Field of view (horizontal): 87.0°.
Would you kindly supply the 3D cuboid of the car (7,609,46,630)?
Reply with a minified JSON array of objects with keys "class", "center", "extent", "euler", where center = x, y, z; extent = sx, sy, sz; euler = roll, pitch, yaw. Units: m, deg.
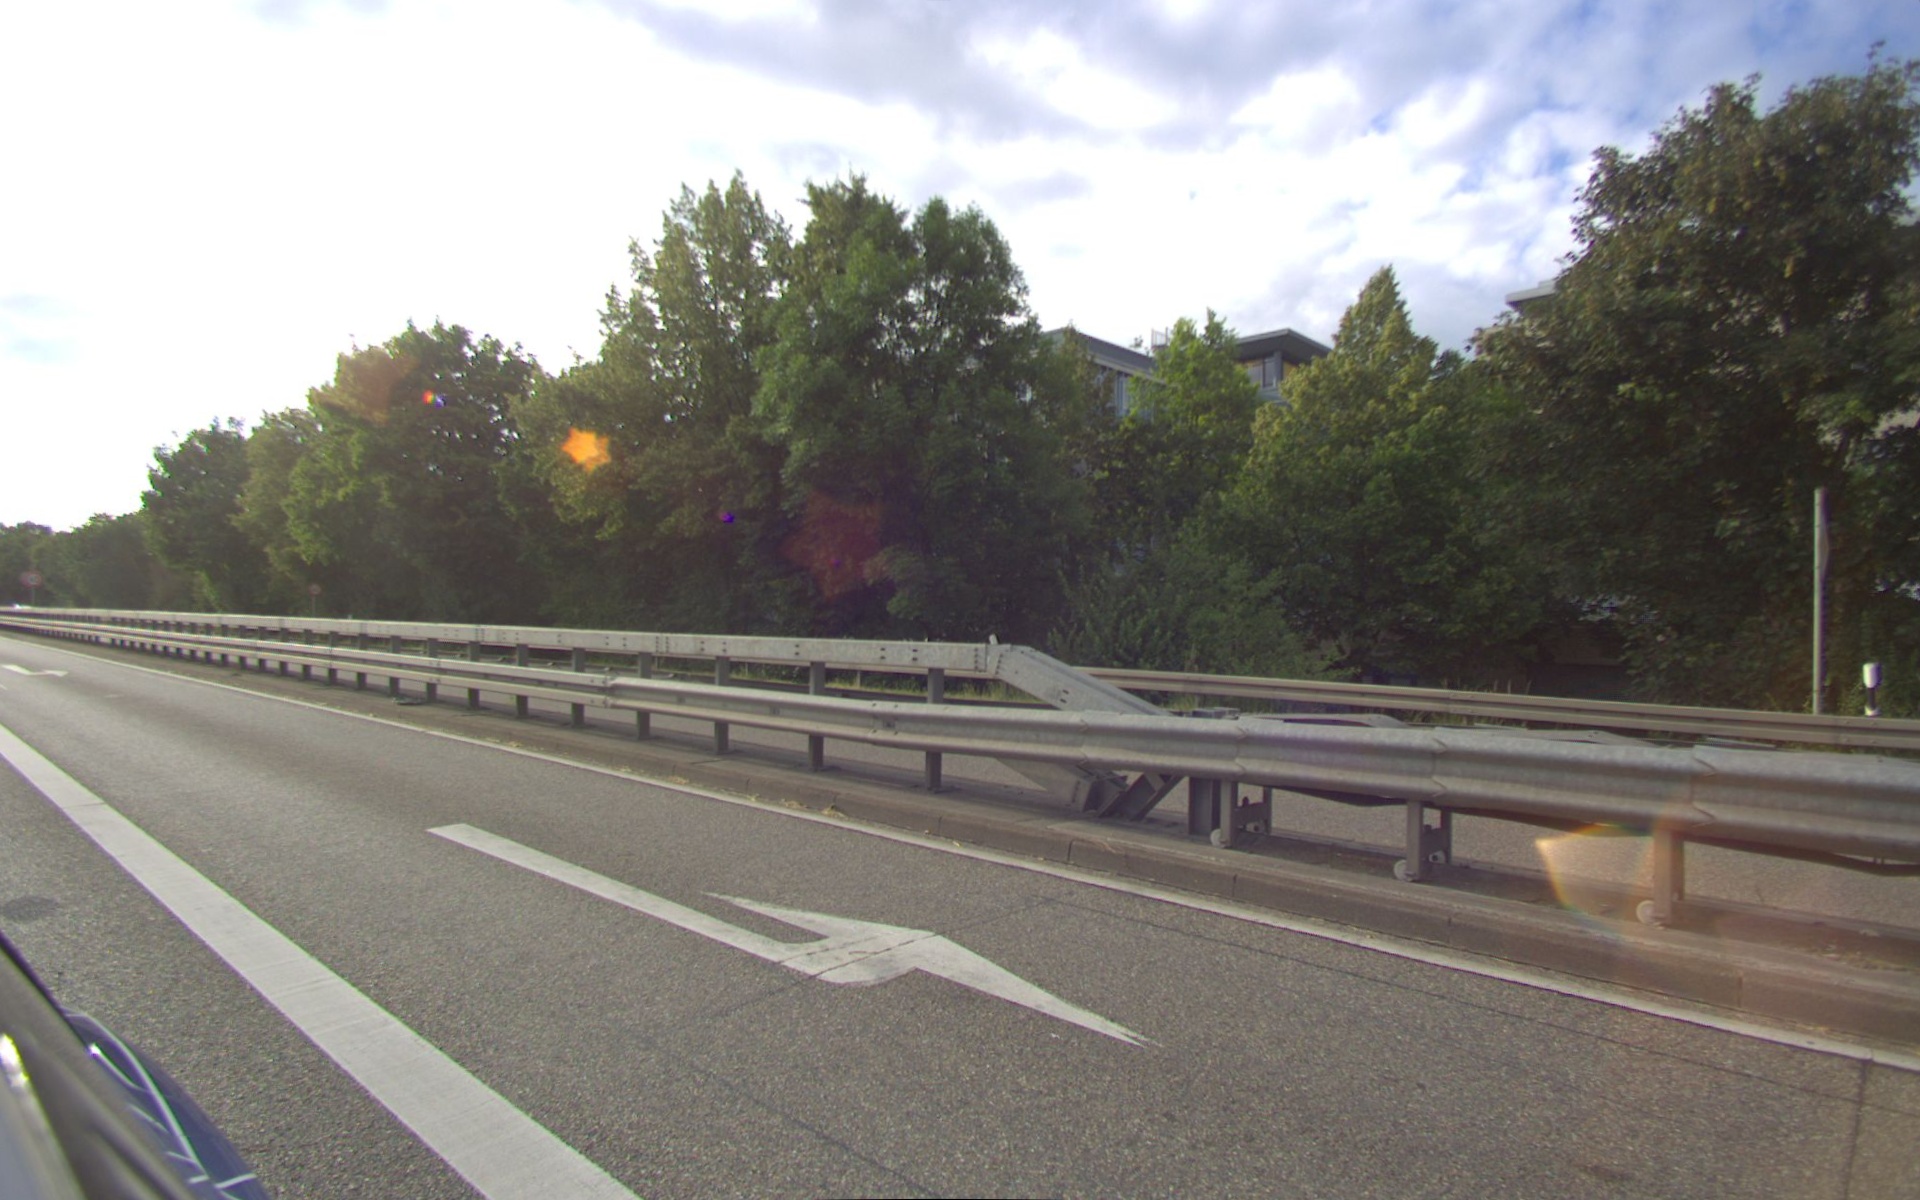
[{"class":"car","center":[-78.294,1.624,84.891],"extent":[3.997,1.674,1.924],"euler":[0,0,40]}]
